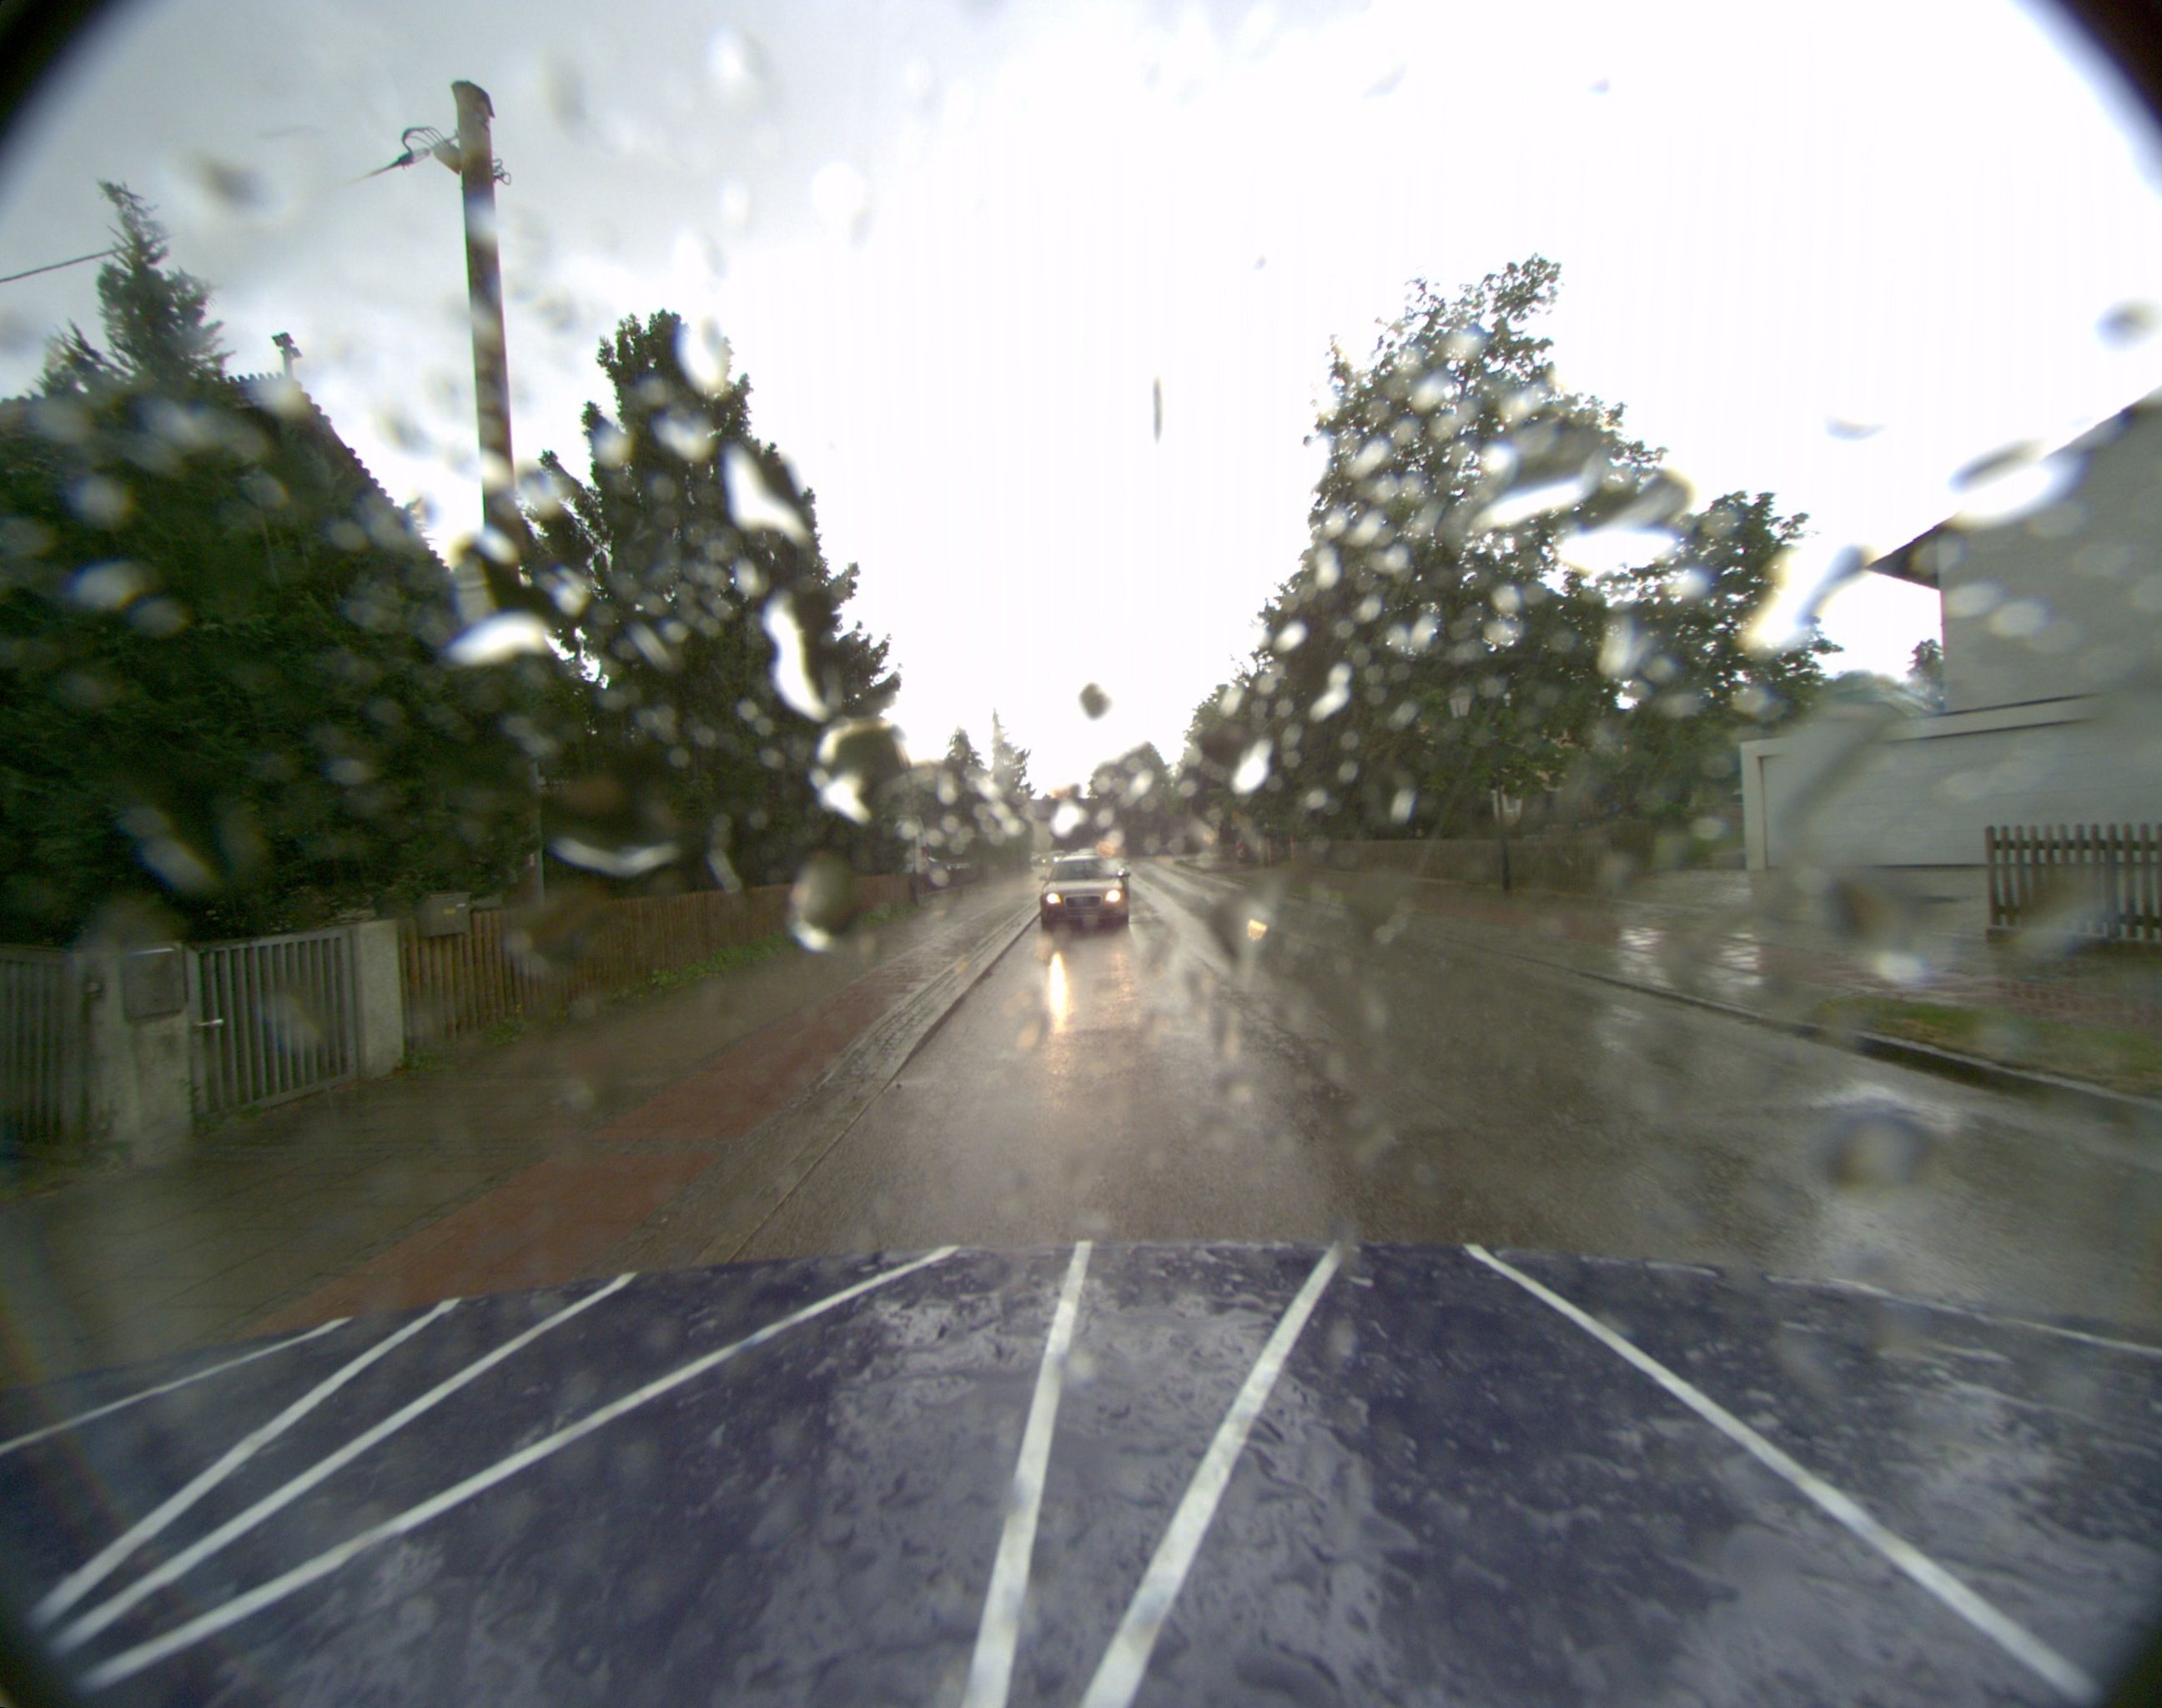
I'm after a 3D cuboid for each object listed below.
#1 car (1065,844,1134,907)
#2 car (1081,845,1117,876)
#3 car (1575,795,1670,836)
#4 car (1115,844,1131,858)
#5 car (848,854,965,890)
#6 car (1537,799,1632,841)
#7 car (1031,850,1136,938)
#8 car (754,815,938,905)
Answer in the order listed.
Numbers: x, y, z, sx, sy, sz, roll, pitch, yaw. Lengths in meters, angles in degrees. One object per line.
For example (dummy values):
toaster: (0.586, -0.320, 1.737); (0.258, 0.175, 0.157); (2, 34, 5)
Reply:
car: (0.587, 0.588, 24.338); (1.872, 1.603, 4.960); (-5, 2, 1)
car: (1.047, 0.320, 43.817); (1.872, 1.512, 4.960); (-5, 1, 1)
car: (29.295, -2.045, 41.163); (1.845, 1.792, 3.649); (-6, 0, -33)
car: (4.679, -0.359, 85.359); (1.642, 1.512, 4.188); (-1, 0, 1)
car: (-7.024, 0.698, 30.980); (4.443, 1.413, 1.829); (0, 1, -6)
car: (26.549, -1.769, 40.168); (1.845, 1.792, 3.649); (-6, 0, -33)
car: (0.095, 0.726, 16.140); (1.872, 1.512, 4.188); (-3, 1, 1)
car: (-7.340, 0.153, 24.289); (5.320, 2.712, 1.998); (0, 1, -8)
